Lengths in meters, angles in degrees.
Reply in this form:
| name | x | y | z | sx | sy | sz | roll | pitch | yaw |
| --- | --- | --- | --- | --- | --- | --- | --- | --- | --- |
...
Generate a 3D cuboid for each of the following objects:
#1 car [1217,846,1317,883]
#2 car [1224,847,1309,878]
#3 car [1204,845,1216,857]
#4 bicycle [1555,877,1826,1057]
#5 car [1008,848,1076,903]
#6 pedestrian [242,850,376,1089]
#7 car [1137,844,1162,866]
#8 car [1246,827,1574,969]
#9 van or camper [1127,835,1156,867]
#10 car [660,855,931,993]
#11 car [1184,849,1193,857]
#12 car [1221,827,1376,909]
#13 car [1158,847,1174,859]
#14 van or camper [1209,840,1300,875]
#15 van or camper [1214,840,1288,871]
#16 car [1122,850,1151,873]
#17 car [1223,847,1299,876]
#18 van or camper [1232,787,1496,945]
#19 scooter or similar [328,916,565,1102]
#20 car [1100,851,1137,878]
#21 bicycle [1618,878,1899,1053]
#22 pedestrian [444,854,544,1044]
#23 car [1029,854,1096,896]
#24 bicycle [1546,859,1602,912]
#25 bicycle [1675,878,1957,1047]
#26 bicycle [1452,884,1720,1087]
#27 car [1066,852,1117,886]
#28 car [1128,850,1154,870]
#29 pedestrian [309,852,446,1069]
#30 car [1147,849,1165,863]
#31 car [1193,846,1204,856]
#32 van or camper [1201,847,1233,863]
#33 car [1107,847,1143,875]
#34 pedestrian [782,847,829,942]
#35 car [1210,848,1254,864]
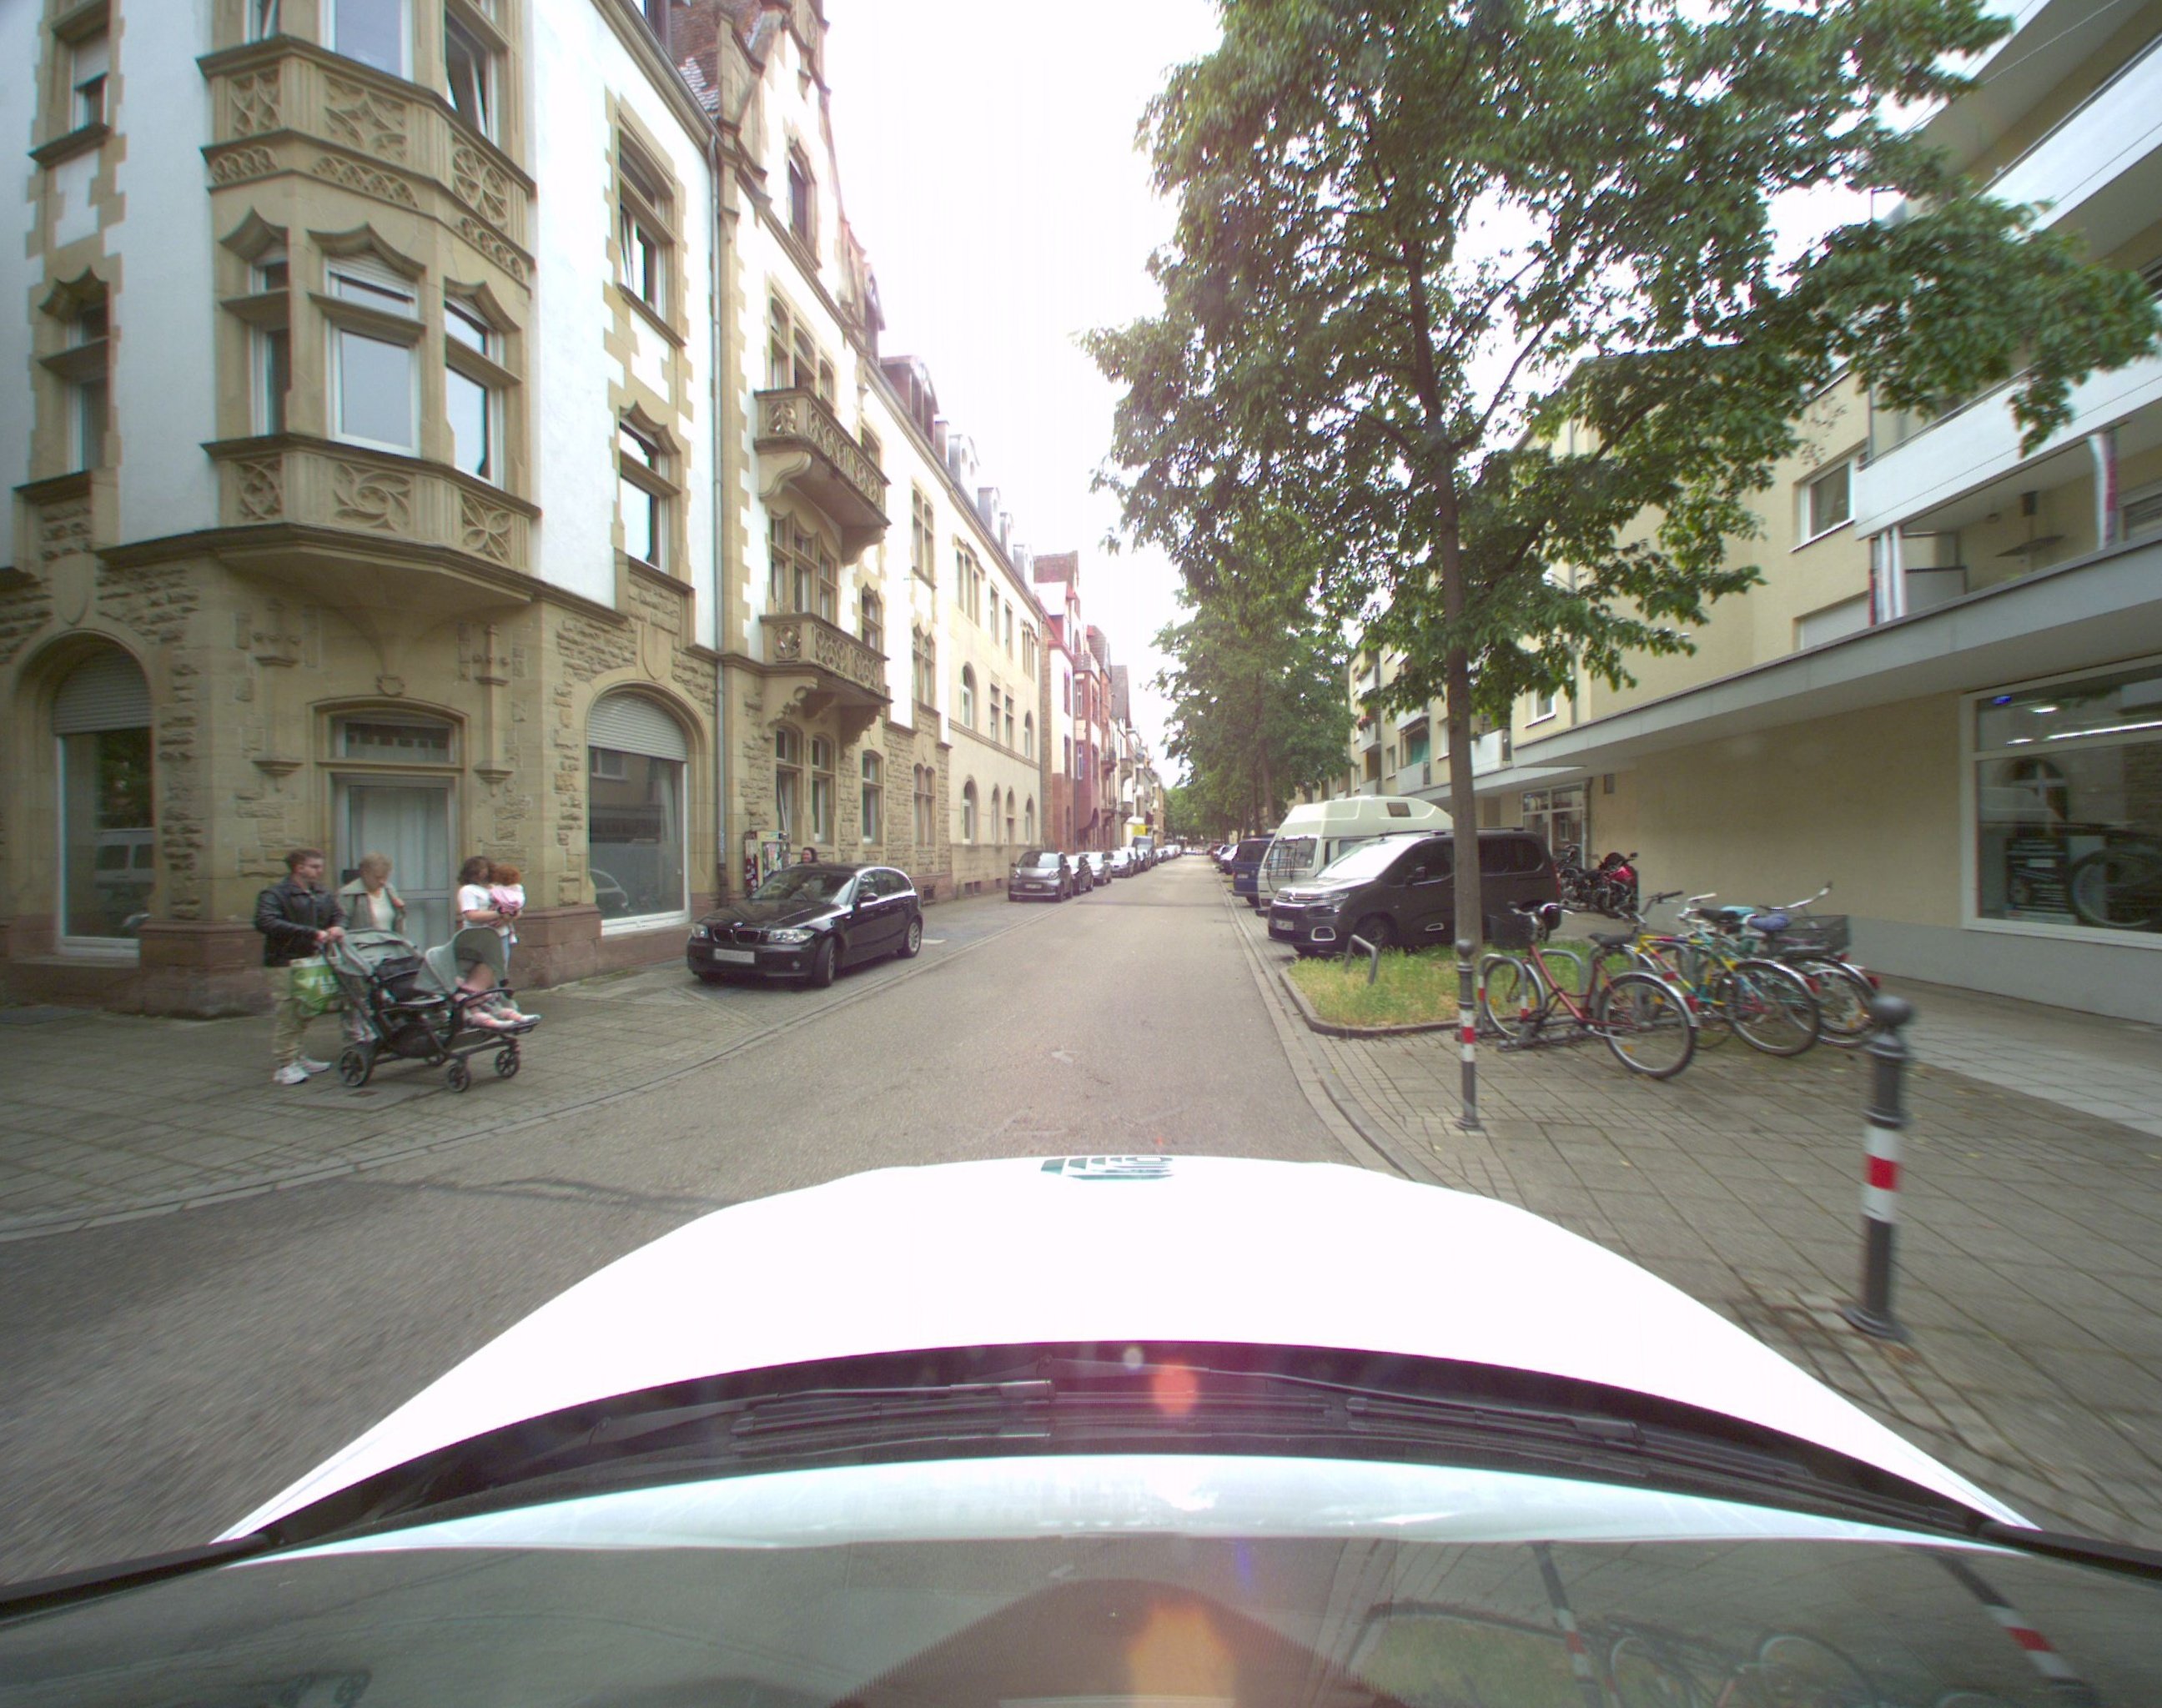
| name | x | y | z | sx | sy | sz | roll | pitch | yaw |
| --- | --- | --- | --- | --- | --- | --- | --- | --- | --- |
| car | 8.857 | 0.489 | 38.836 | 4.226 | 1.500 | 1.963 | -3 | 0 | -19 |
| car | 10.073 | 0.447 | 44.273 | 4.050 | 1.483 | 1.936 | -2 | 0 | -18 |
| car | 24.238 | -0.572 | 152.861 | 1.982 | 2.013 | 4.009 | 2 | 1 | 8 |
| bicycle | 4.621 | 0.780 | 6.348 | 0.549 | 1.174 | 1.720 | -1 | -1 | -13 |
| car | -1.174 | 0.620 | 25.779 | 1.637 | 1.570 | 2.963 | 1 | 2 | 8 |
| pedestrian | -5.633 | 0.798 | 5.956 | 0.523 | 1.643 | 0.531 | 1 | 0 | 20 |
| car | 6.489 | 0.065 | 77.033 | 1.982 | 2.013 | 4.903 | -1 | 0 | 9 |
| car | 4.882 | 0.546 | 12.212 | 4.342 | 1.854 | 1.900 | -1 | 0 | -17 |
| van or camper | 5.276 | -0.295 | 70.227 | 1.996 | 2.651 | 5.329 | -1 | 1 | 9 |
| car | -3.577 | 0.787 | 11.087 | 1.699 | 1.494 | 4.011 | 1 | 0 | 10 |
| car | 22.790 | -0.107 | 172.097 | 1.811 | 1.645 | 3.762 | 1 | -1 | 8 |
| car | 6.397 | 0.346 | 23.779 | 4.418 | 2.196 | 2.044 | -1 | 0 | -36 |
| car | 11.574 | -0.143 | 110.426 | 1.982 | 1.475 | 4.010 | -1 | 0 | 9 |
| van or camper | 10.645 | 0.200 | 49.978 | 5.022 | 1.869 | 2.113 | -2 | 0 | -19 |
| van or camper | 12.185 | 0.095 | 58.498 | 4.741 | 1.994 | 1.988 | -2 | -2 | -17 |
| car | 3.857 | 0.510 | 56.444 | 1.625 | 1.473 | 4.010 | 1 | 1 | 9 |
| car | 10.387 | 0.448 | 46.999 | 3.863 | 1.502 | 1.899 | -2 | 0 | -21 |
| van or camper | 5.276 | 0.168 | 15.133 | 4.603 | 2.596 | 1.896 | -1 | 0 | -24 |
| scooter or similar | -4.646 | 1.073 | 5.974 | 1.457 | 1.104 | 0.679 | 2 | 1 | 20 |
| car | 2.110 | 0.546 | 45.180 | 1.653 | 1.420 | 3.938 | 1 | 1 | 8 |
| bicycle | 5.281 | 0.791 | 6.510 | 0.549 | 1.174 | 1.720 | -1 | -1 | -13 |
| pedestrian | -5.275 | 0.803 | 7.322 | 0.673 | 1.593 | 0.624 | -1 | 1 | -41 |
| car | -0.593 | 0.729 | 29.498 | 1.716 | 1.386 | 3.938 | 1 | 0 | 9 |
| bicycle | 10.726 | 0.656 | 17.766 | 0.481 | 1.090 | 1.706 | -1 | 0 | 11 |
| bicycle | 5.921 | 0.801 | 6.710 | 0.549 | 1.174 | 1.690 | -1 | -1 | -13 |
| bicycle | 3.466 | 0.824 | 5.797 | 0.549 | 1.174 | 1.720 | -1 | -1 | -13 |
| car | 0.519 | 0.627 | 36.586 | 1.716 | 1.386 | 4.147 | 1 | 1 | 8 |
| car | 4.555 | 0.441 | 61.556 | 1.658 | 1.473 | 4.010 | 1 | 0 | 9 |
| pedestrian | -5.684 | 0.812 | 6.594 | 0.611 | 1.643 | 0.606 | 0 | 0 | 20 |
| car | 8.081 | 0.161 | 87.410 | 1.779 | 1.480 | 4.031 | 0 | 0 | 8 |
| car | 22.646 | -0.556 | 156.599 | 1.983 | 1.794 | 4.008 | 1 | -1 | 7 |
| van or camper | 19.407 | 0.135 | 116.427 | 4.160 | 2.085 | 1.940 | -1 | 0 | -20 |
| car | 2.773 | 0.389 | 50.454 | 1.776 | 1.646 | 4.372 | 1 | 1 | 8 |
| pedestrian | -4.518 | 0.647 | 13.362 | 0.512 | 1.518 | 0.548 | -1 | 0 | 8 |
| car | 15.343 | 0.189 | 82.790 | 4.027 | 1.559 | 1.870 | -1 | 0 | -23 |
